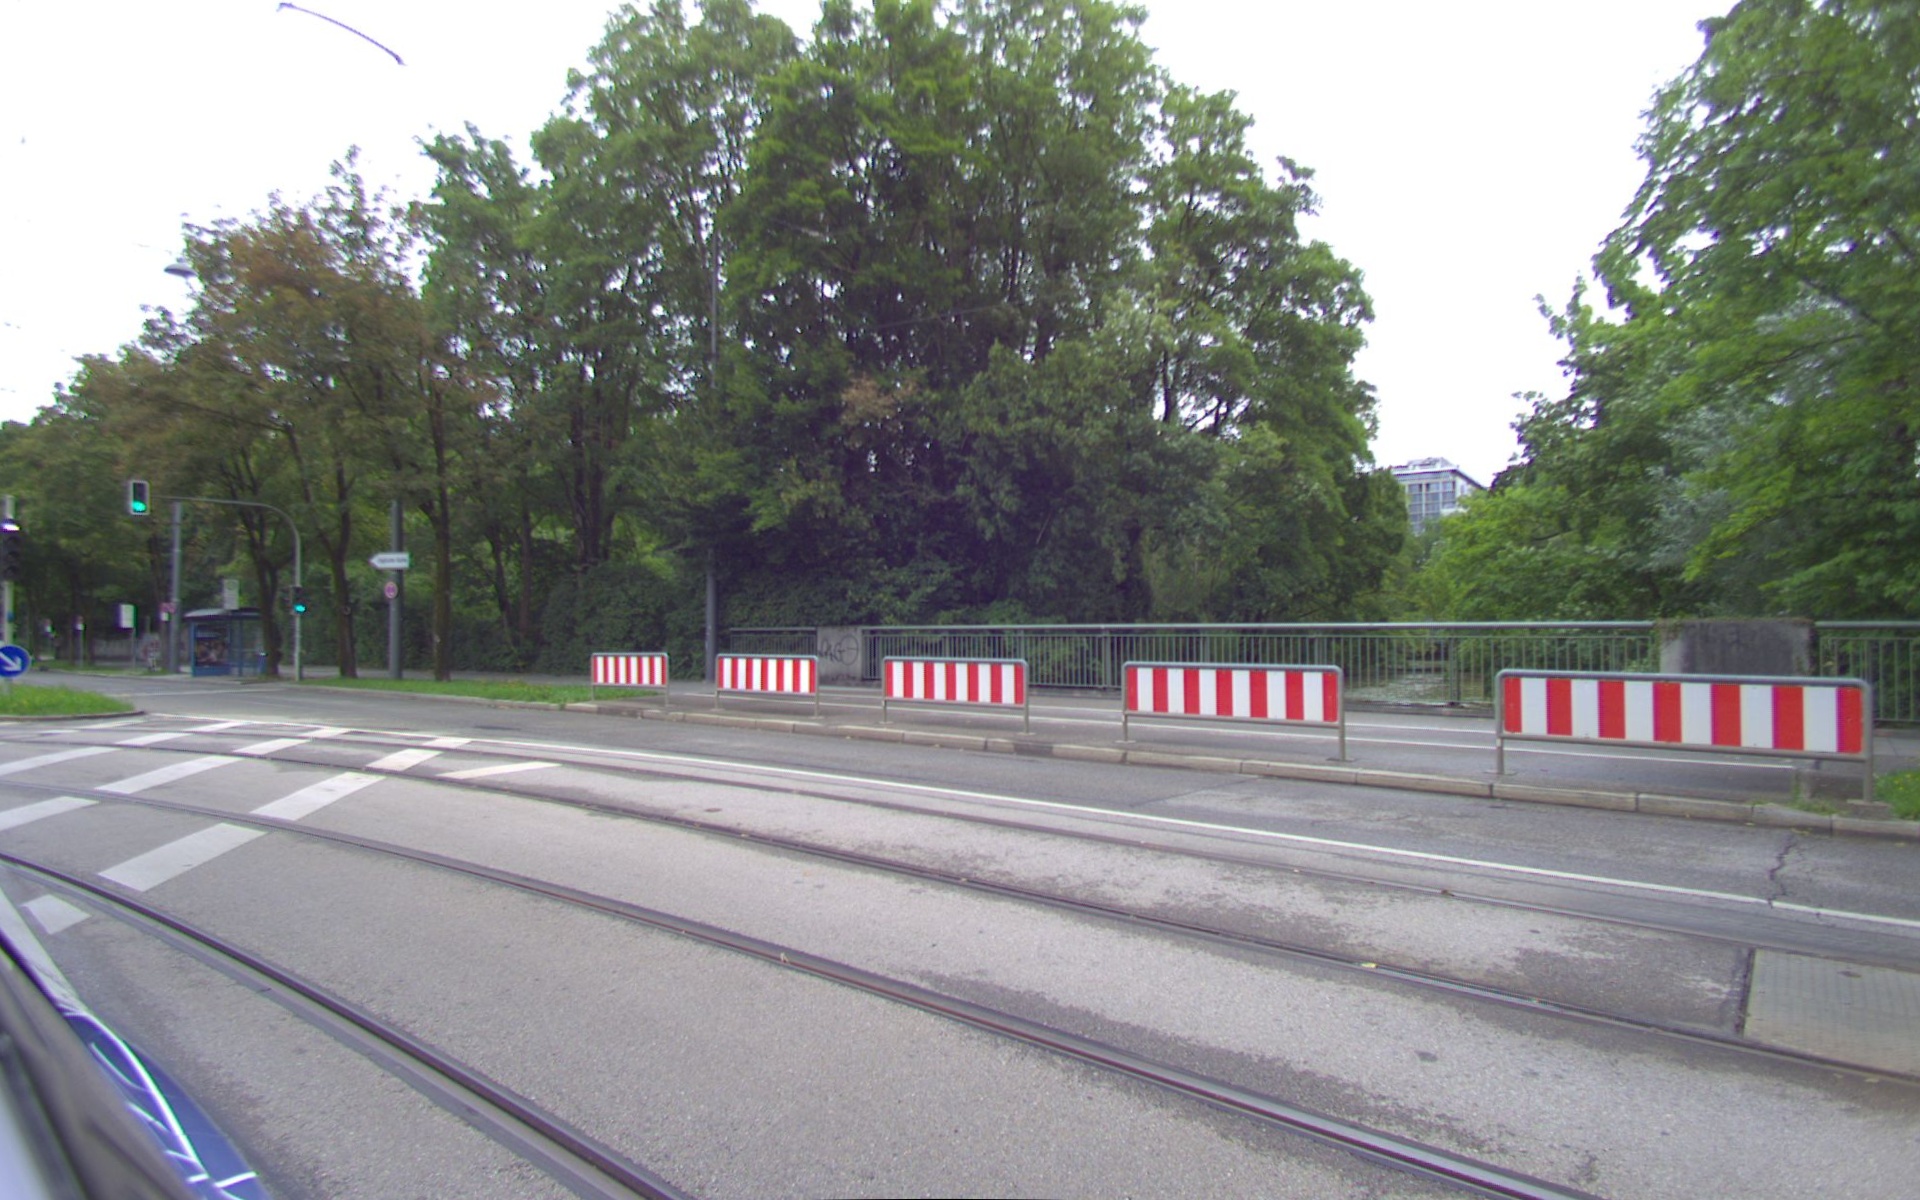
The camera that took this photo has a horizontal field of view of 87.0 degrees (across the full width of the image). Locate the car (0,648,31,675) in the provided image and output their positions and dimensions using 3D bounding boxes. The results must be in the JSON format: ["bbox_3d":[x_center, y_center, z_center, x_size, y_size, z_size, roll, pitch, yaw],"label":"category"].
[{"bbox_3d":[-60.257,3.867,63.815,3.995,1.552,1.865,-1,0,39],"label":"car"}]

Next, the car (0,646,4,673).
[{"bbox_3d":[-64.730,3.933,66.840,3.996,1.739,1.864,-1,0,40],"label":"car"}]
